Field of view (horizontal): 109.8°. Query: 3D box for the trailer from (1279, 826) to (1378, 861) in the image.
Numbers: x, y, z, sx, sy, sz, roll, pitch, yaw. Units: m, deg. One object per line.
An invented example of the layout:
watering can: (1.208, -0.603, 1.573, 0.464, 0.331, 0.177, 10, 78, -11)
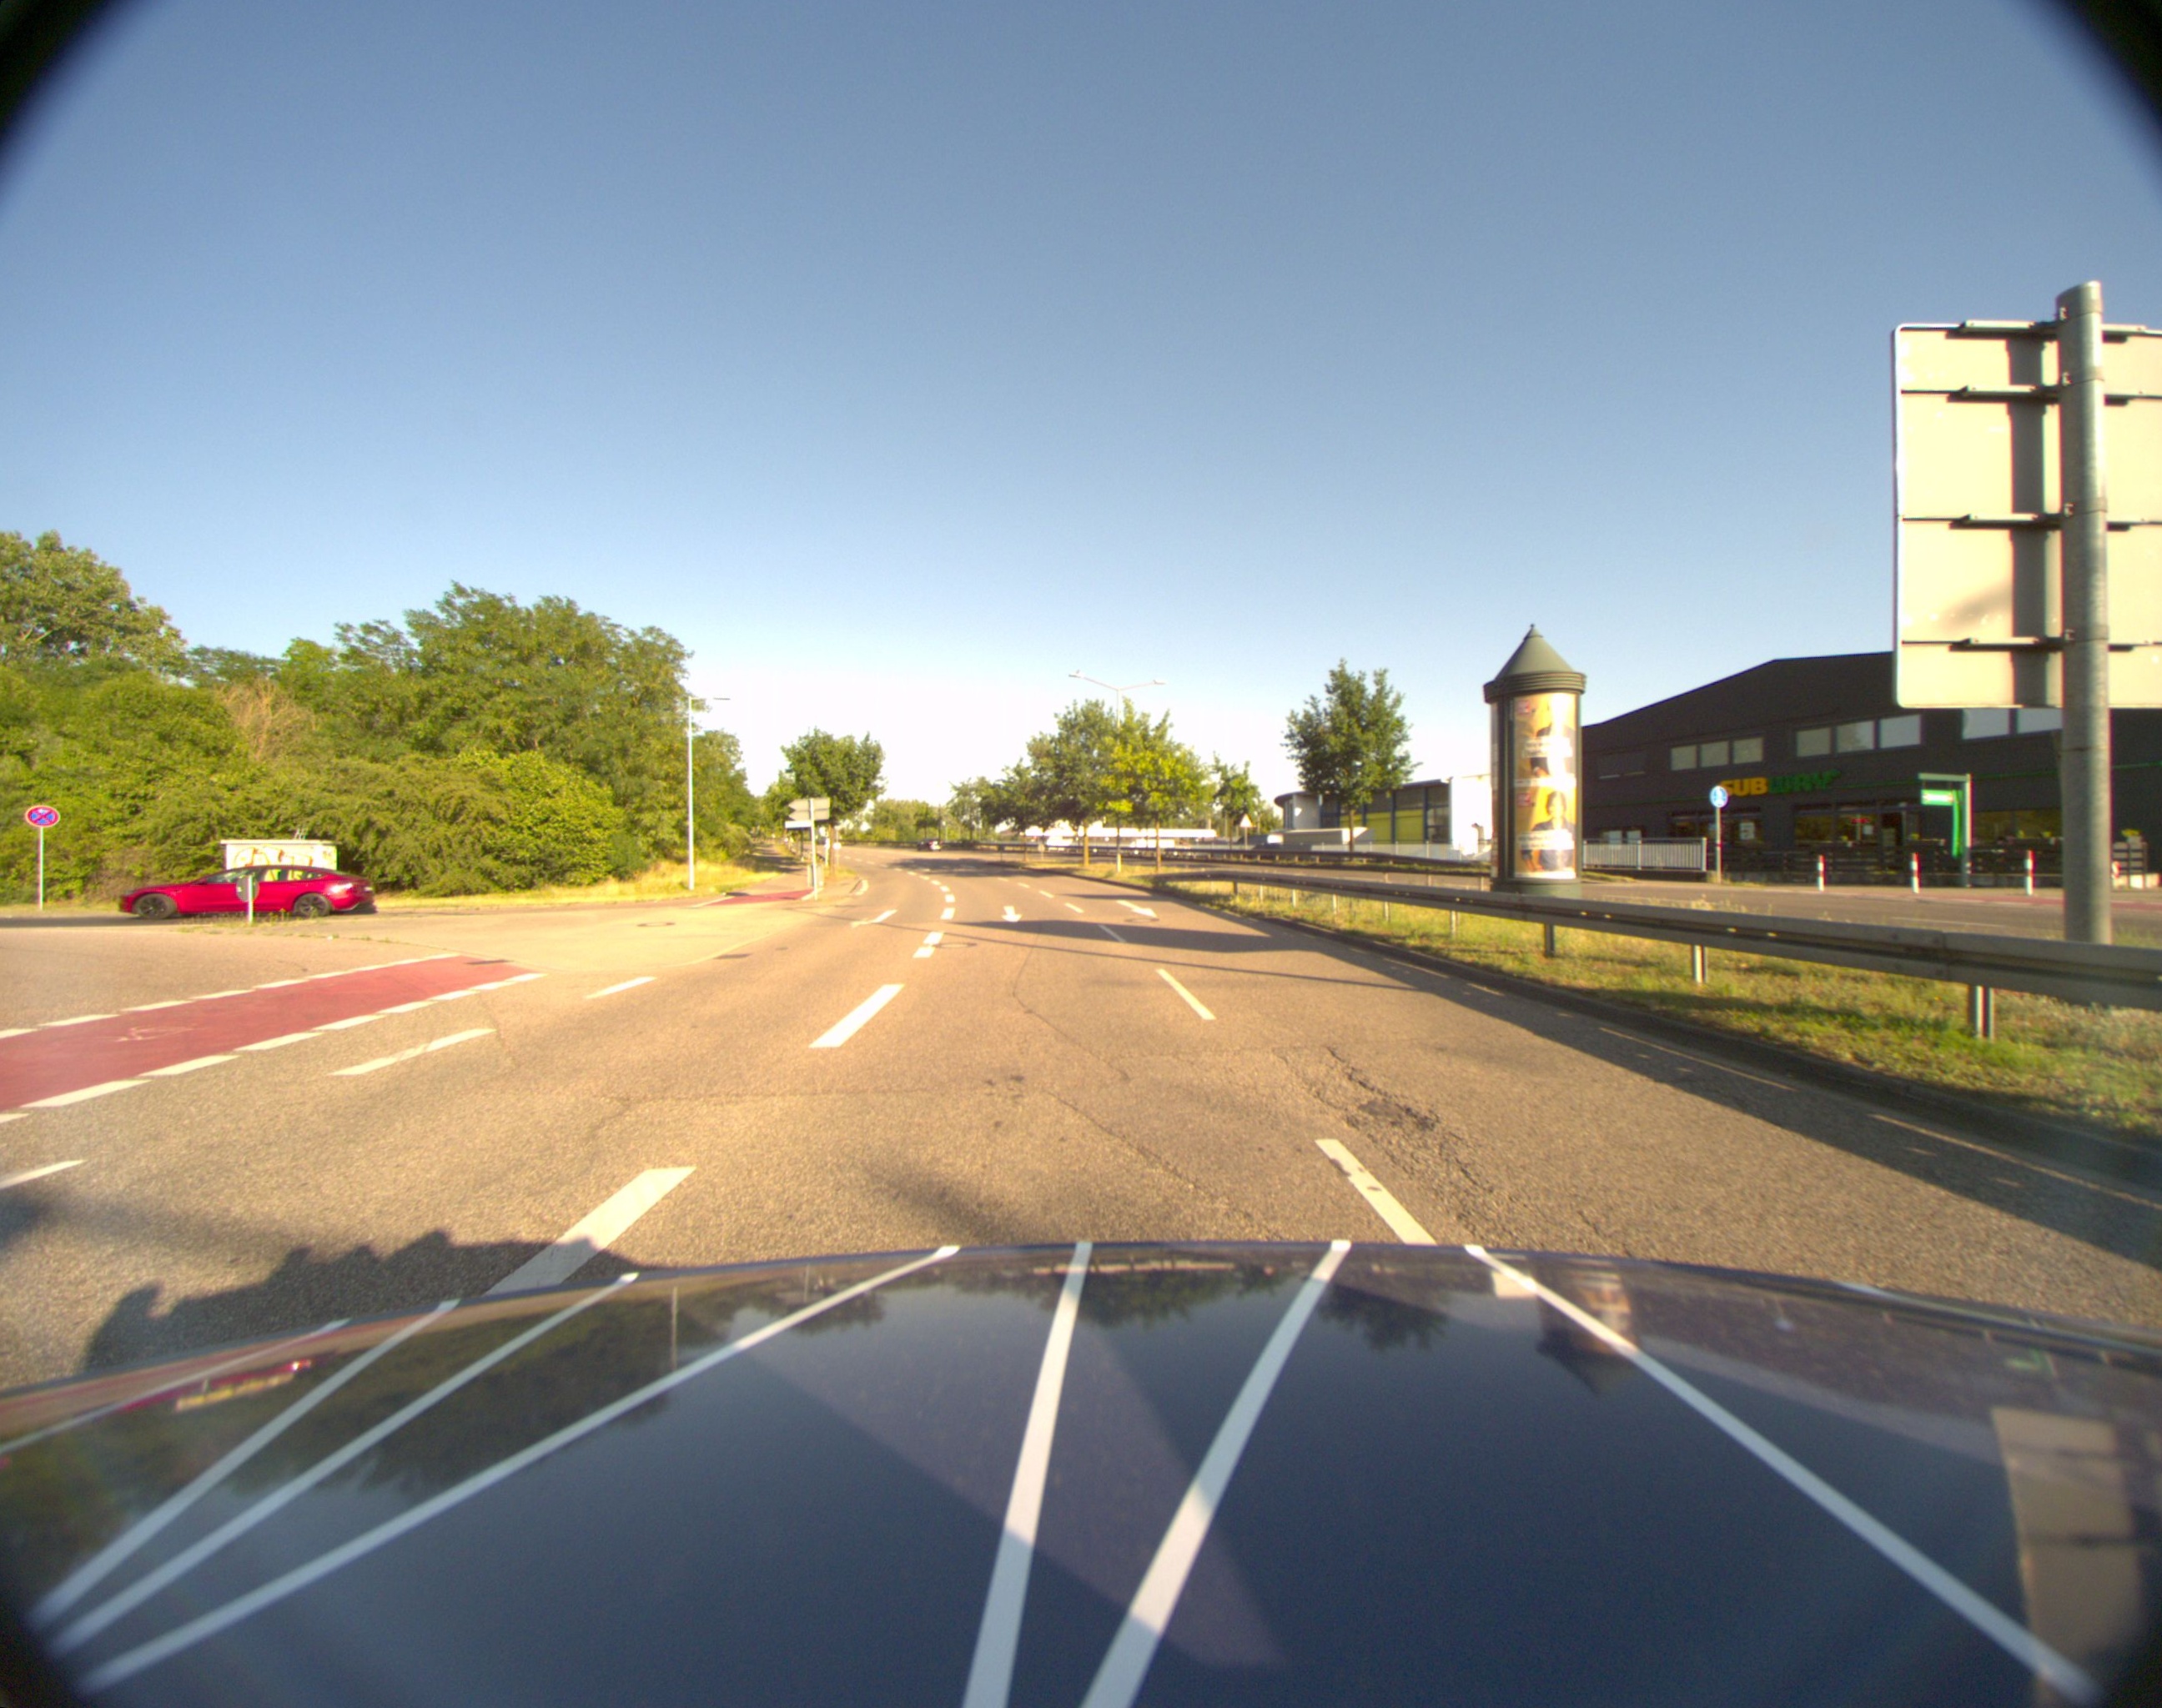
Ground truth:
trailer: (15.206, -0.704, 47.232, 2.429, 1.959, 6.593, -2, 2, -19)

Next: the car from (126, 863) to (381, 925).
car: (-22.277, 1.042, 20.746, 4.366, 1.433, 1.779, -1, -1, -30)

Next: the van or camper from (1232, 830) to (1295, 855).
van or camper: (12.934, -0.834, 54.140, 2.002, 1.676, 4.950, -2, 2, -20)

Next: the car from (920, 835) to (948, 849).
car: (-17.259, -1.392, 88.832, 1.855, 1.595, 4.383, -2, 2, -30)

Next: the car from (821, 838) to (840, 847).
car: (-40.400, -1.882, 122.589, 1.681, 1.454, 4.094, -2, 2, -36)

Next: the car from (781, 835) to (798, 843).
car: (-52.531, -2.695, 136.813, 1.749, 1.454, 3.755, -4, 2, -39)

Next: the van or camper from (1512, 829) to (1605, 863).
van or camper: (27.941, -0.524, 44.636, 4.220, 1.915, 2.002, 1, 3, 17)
